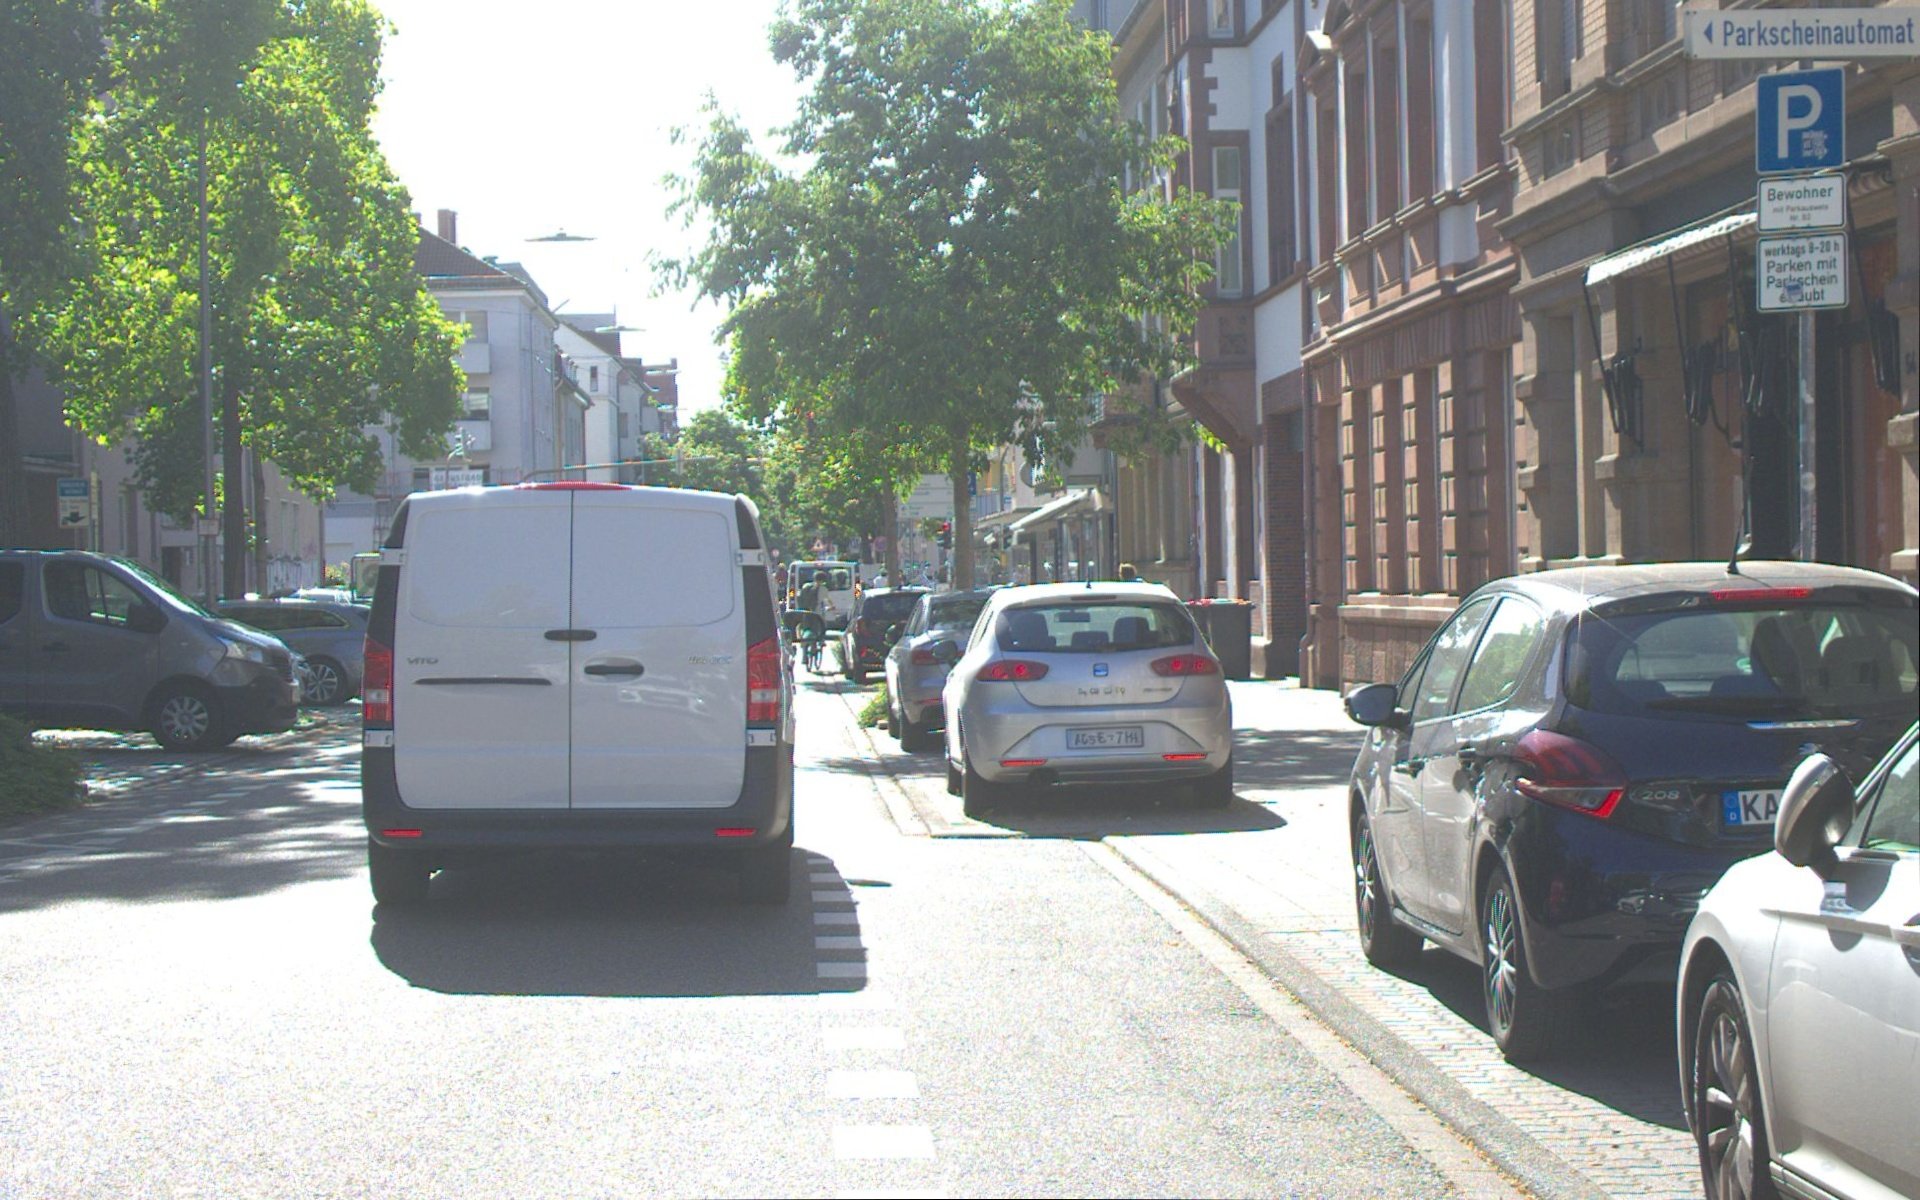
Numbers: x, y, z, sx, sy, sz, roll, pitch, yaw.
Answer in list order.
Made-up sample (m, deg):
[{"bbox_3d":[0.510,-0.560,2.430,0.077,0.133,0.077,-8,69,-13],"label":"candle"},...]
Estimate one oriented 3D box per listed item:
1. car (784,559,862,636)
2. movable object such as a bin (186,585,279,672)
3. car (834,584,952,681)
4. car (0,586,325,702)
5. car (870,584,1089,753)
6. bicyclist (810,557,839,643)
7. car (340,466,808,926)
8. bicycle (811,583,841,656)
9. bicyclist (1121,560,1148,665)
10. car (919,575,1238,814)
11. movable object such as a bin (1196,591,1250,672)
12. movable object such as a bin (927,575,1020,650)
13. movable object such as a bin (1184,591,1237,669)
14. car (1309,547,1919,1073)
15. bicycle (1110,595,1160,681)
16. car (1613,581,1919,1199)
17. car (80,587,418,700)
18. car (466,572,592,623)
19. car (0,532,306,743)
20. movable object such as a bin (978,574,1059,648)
[{"bbox_3d":[-3.573,-0.080,89.051,1.815,1.915,4.645,-1,0,-4],"label":"car"},{"bbox_3d":[-12.371,0.476,58.489,1.231,1.445,1.075,-1,0,7],"label":"movable object such as a bin"},{"bbox_3d":[-1.108,0.501,55.280,1.635,1.471,3.581,-1,0,-5],"label":"car"},{"bbox_3d":[-10.404,0.561,44.948,3.986,1.458,1.813,0,0,-6],"label":"car"},{"bbox_3d":[0.120,0.593,32.301,1.738,1.446,4.308,-1,0,-4],"label":"car"},{"bbox_3d":[-2.407,0.005,61.016,0.439,1.503,0.497,-2,1,-4],"label":"bicyclist"},{"bbox_3d":[-1.957,0.379,16.786,1.920,1.907,4.889,1,1,-8],"label":"car"},{"bbox_3d":[-2.387,0.344,61.008,0.475,1.270,1.218,-1,0,-4],"label":"bicycle"},{"bbox_3d":[2.458,0.179,48.431,0.361,1.472,0.530,0,0,2],"label":"bicyclist"},{"bbox_3d":[0.709,0.564,23.112,1.738,1.446,4.001,-1,0,-4],"label":"car"},{"bbox_3d":[3.535,0.417,46.199,0.638,1.065,0.639,-1,0,-3],"label":"movable object such as a bin"},{"bbox_3d":[0.250,0.233,63.225,1.268,1.343,1.108,-2,1,-45],"label":"movable object such as a bin"},{"bbox_3d":[3.451,0.412,47.352,0.638,1.065,0.632,-1,0,-3],"label":"movable object such as a bin"},{"bbox_3d":[2.322,0.581,11.606,1.709,1.475,3.711,-1,0,-3],"label":"car"},{"bbox_3d":[2.448,0.521,48.319,0.536,1.145,2.124,-5,0,1],"label":"bicycle"},{"bbox_3d":[2.441,0.694,5.612,1.785,1.455,4.517,-2,0,-1],"label":"car"},{"bbox_3d":[-9.815,0.593,47.672,4.305,1.455,1.762,1,0,-1],"label":"car"},{"bbox_3d":[-13.879,-0.087,110.845,3.986,1.634,2.000,0,0,-6],"label":"car"},{"bbox_3d":[-9.203,0.333,33.582,5.291,1.967,2.016,1,0,-3],"label":"car"},{"bbox_3d":[1.102,0.204,64.396,1.040,1.343,1.106,-1,1,36],"label":"movable object such as a bin"}]
